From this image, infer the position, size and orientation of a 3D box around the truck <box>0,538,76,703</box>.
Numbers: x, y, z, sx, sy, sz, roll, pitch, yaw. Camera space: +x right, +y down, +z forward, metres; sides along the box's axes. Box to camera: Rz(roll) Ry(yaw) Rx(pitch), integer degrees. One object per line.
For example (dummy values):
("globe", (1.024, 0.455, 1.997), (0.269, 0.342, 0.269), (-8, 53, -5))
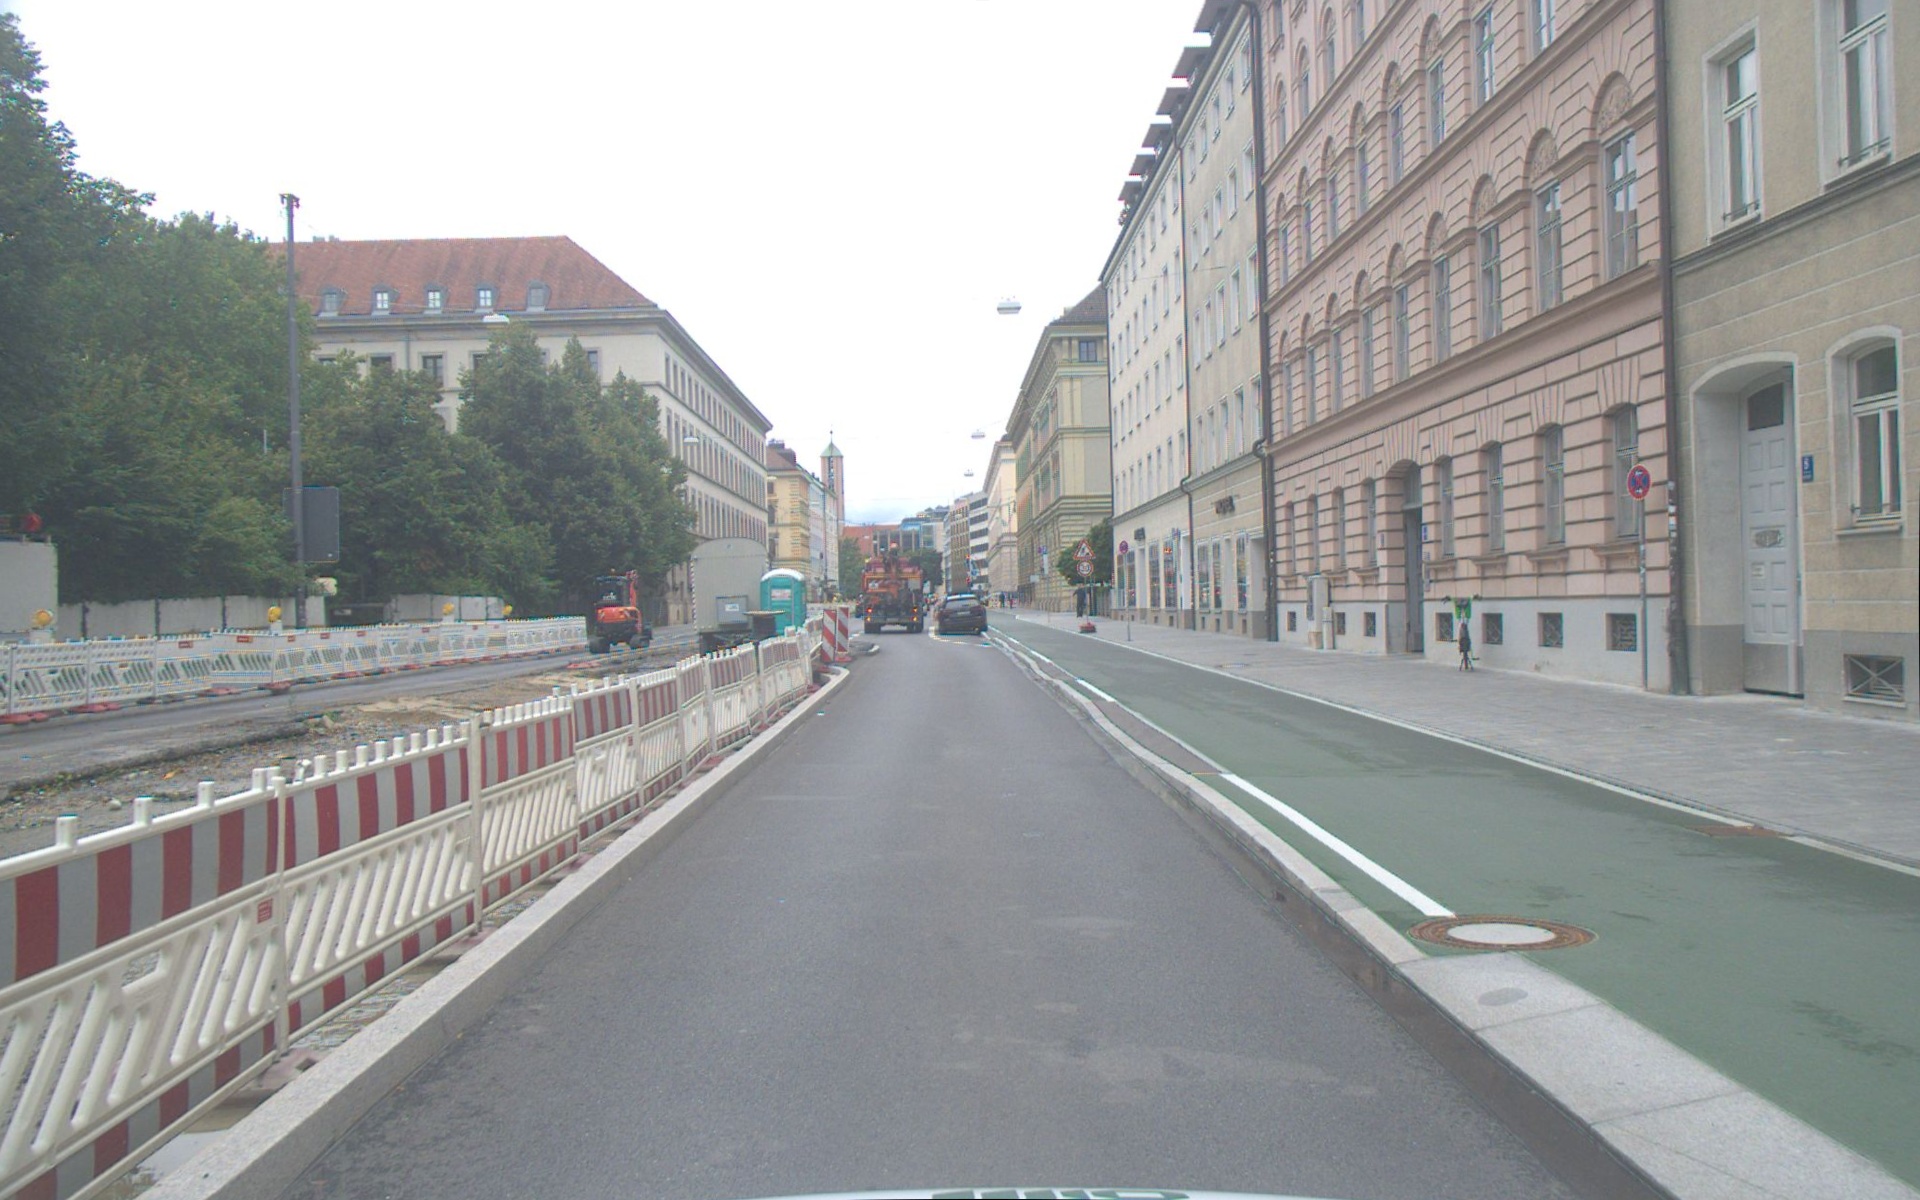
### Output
("truck", (-17.124, 0.372, 27.213), (1.953, 2.776, 5.870), (-1, 0, 0))

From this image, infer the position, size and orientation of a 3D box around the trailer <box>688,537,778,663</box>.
("trailer", (-6.502, -0.019, 48.063), (2.184, 3.300, 7.510), (-2, 0, -5))

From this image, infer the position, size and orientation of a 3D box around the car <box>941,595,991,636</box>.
("car", (0.197, 0.579, 65.200), (1.765, 1.505, 4.685), (-2, 0, -2))

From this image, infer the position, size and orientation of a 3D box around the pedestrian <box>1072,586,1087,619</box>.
("pedestrian", (6.718, 0.137, 93.096), (0.774, 1.868, 0.777), (-2, 0, 0))

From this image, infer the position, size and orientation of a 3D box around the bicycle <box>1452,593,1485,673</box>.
("bicycle", (8.021, 0.501, 26.131), (0.417, 1.194, 1.733), (-2, 0, 16))

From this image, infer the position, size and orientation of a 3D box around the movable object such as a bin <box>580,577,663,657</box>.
("movable object such as a bin", (-11.621, 0.527, 57.065), (1.884, 2.617, 4.493), (-1, 0, 0))

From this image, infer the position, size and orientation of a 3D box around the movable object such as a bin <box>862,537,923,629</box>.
("movable object such as a bin", (-2.824, -0.689, 69.599), (2.374, 3.674, 5.849), (-1, 0, -2))
